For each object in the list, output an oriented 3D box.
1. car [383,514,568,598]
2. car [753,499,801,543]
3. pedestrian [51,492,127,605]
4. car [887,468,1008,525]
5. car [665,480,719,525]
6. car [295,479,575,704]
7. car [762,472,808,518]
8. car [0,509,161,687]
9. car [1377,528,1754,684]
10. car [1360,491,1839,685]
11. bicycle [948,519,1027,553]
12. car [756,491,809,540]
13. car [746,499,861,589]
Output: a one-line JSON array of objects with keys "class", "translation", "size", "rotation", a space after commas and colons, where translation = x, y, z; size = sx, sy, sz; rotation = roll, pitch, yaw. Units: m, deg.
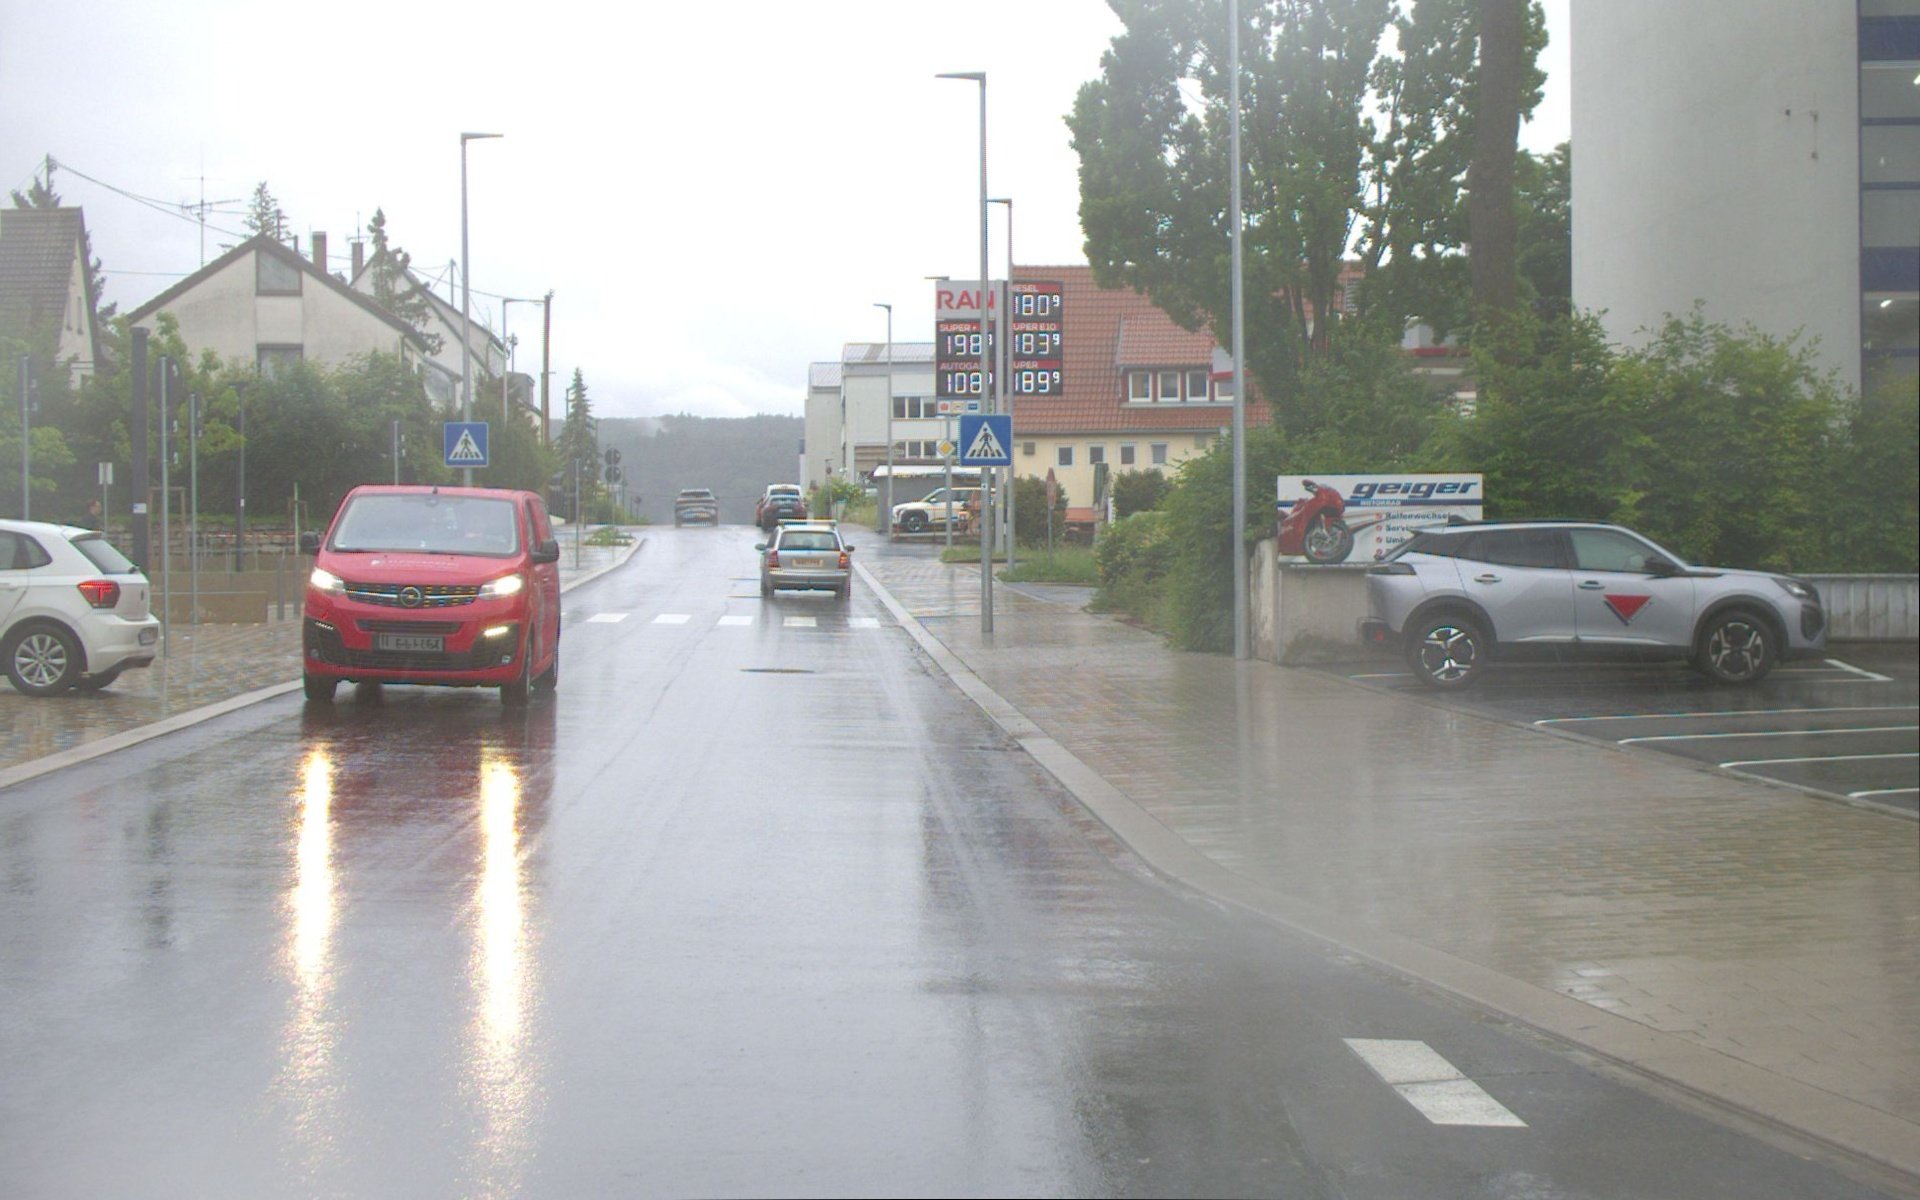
[{"class": "car", "translation": [-13.535, -1.213, 96.027], "size": [4.751, 2.007, 2.001], "rotation": [4, -1, -16]}, {"class": "car", "translation": [-8.090, -3.492, 152.185], "size": [1.993, 1.700, 4.000], "rotation": [4, -1, -3]}, {"class": "pedestrian", "translation": [-13.384, -0.796, 52.854], "size": [1.013, 1.718, 0.772], "rotation": [1, 1, -5]}, {"class": "car", "translation": [-0.460, -3.706, 123.490], "size": [4.111, 1.700, 1.789], "rotation": [4, -1, -6]}, {"class": "car", "translation": [-11.775, -4.283, 151.023], "size": [2.154, 1.700, 4.000], "rotation": [4, -1, -3]}, {"class": "car", "translation": [-4.535, -0.113, 30.354], "size": [2.002, 1.811, 4.980], "rotation": [0, 1, -4]}, {"class": "car", "translation": [-7.422, -4.437, 145.759], "size": [1.782, 1.700, 4.000], "rotation": [4, -1, -3]}, {"class": "car", "translation": [-8.767, -0.043, 28.377], "size": [3.927, 1.418, 1.898], "rotation": [0, 1, -2]}, {"class": "car", "translation": [6.039, 0.047, 34.612], "size": [3.622, 1.489, 1.806], "rotation": [-1, 1, 7]}, {"class": "car", "translation": [5.865, -0.115, 31.943], "size": [4.208, 1.644, 2.000], "rotation": [-1, 1, 7]}, {"class": "bicycle", "translation": [0.918, -2.174, 116.932], "size": [0.668, 1.063, 3.629], "rotation": [4, -1, -34]}, {"class": "car", "translation": [-7.176, -3.409, 139.027], "size": [1.993, 1.700, 4.000], "rotation": [4, -1, -3]}, {"class": "car", "translation": [-3.093, -1.069, 67.218], "size": [1.948, 1.550, 4.001], "rotation": [4, -1, -5]}]
